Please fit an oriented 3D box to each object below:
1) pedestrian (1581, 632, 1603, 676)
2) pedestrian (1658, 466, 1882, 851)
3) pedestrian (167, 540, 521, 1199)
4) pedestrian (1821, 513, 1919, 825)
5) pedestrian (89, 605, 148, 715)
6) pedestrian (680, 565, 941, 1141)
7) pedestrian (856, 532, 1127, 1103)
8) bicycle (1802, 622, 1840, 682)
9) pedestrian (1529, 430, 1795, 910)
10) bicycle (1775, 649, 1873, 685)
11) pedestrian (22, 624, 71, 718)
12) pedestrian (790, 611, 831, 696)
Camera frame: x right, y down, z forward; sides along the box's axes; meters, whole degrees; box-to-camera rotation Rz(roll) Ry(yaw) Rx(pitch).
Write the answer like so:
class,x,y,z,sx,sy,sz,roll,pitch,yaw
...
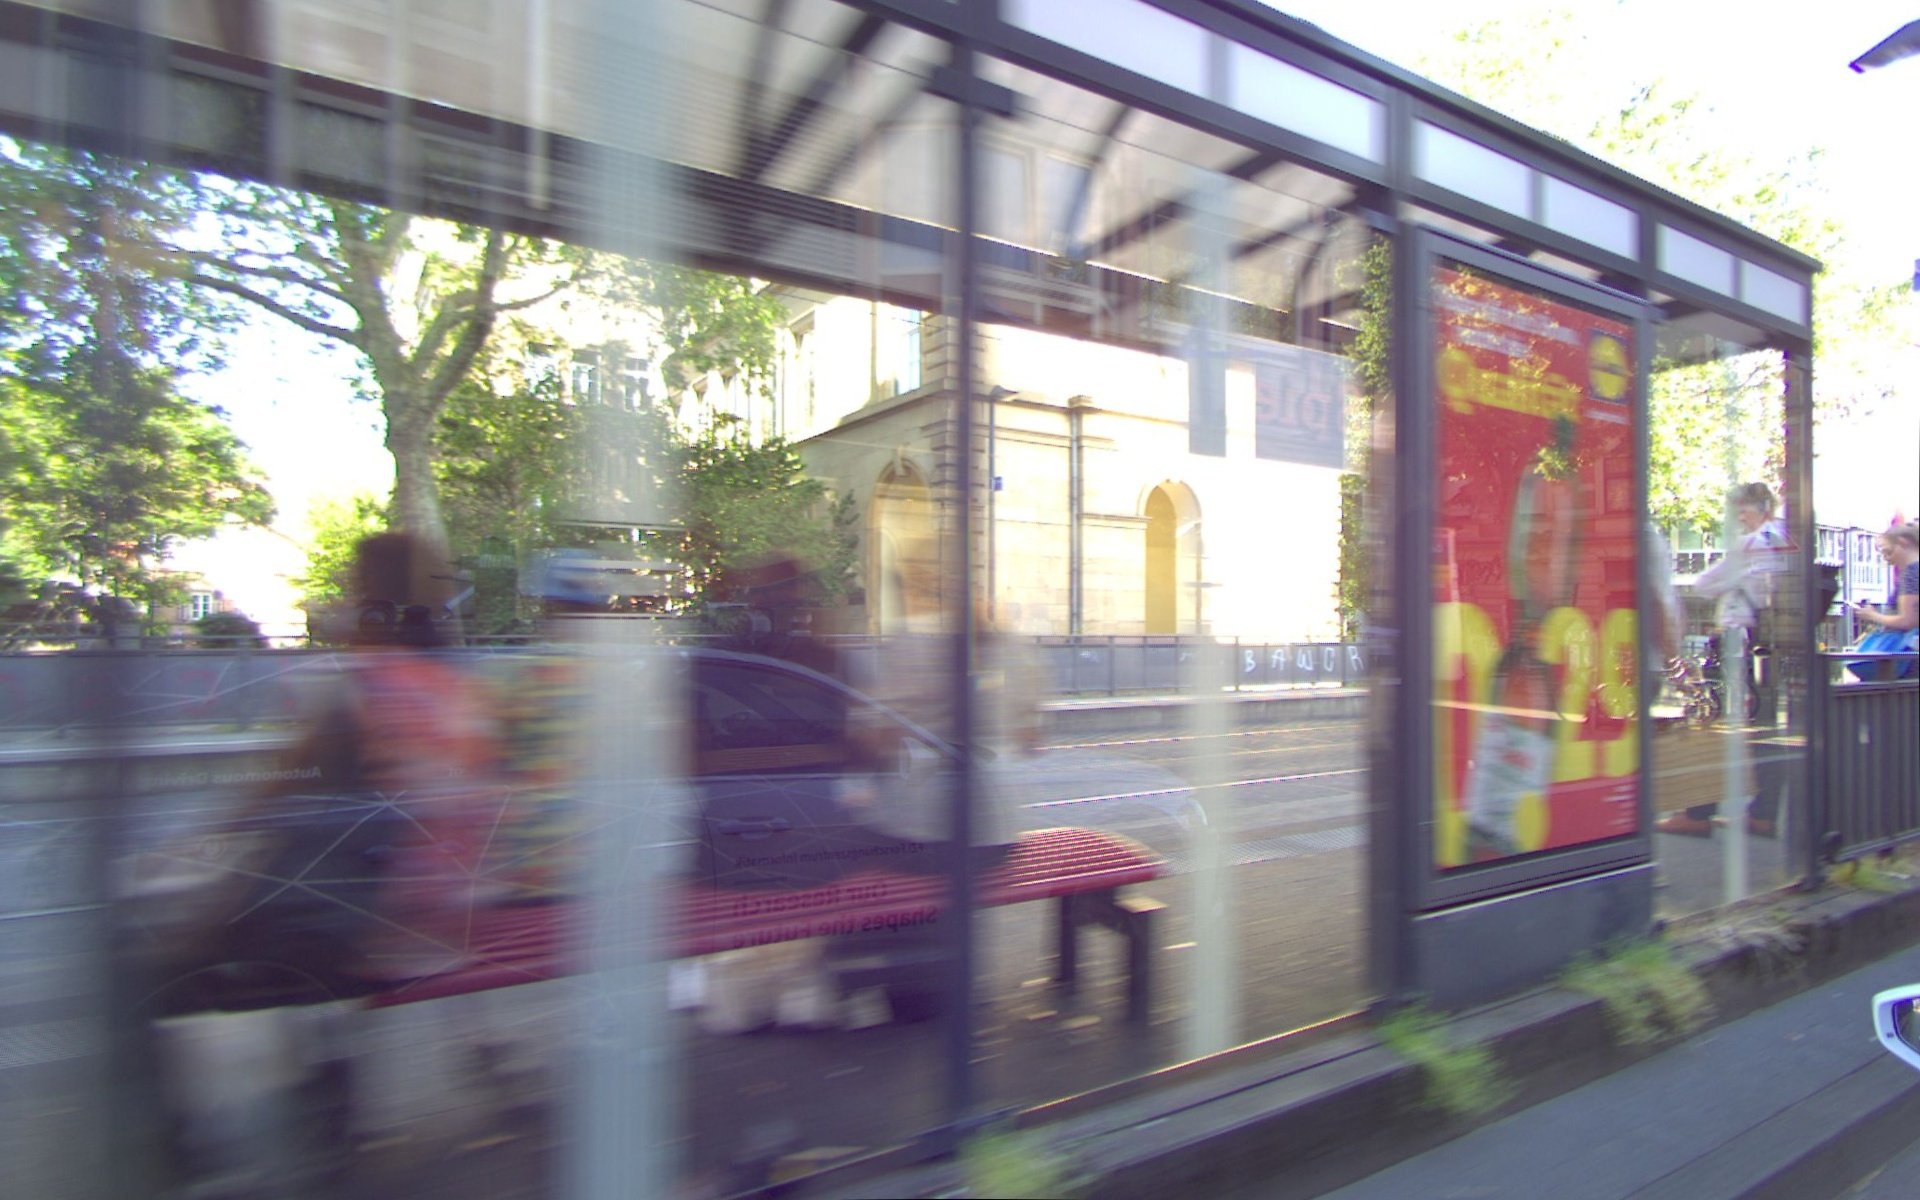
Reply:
class,x,y,z,sx,sy,sz,roll,pitch,yaw
pedestrian,24.618,2.093,39.134,0.678,1.658,0.675,0,-2,27
pedestrian,4.126,0.279,5.131,0.739,1.775,0.686,1,-1,-32
pedestrian,-1.048,0.502,1.744,0.455,1.167,0.363,2,0,-32
pedestrian,5.302,0.375,5.687,0.583,1.670,0.491,1,-1,-32
pedestrian,-15.024,1.062,17.942,0.618,1.906,0.704,1,-1,-27
pedestrian,-0.354,0.519,2.335,0.455,1.167,0.406,2,0,-31
pedestrian,0.067,0.489,2.587,0.455,1.269,0.537,2,0,-31
bicycle,25.118,1.505,29.325,0.572,1.738,0.648,0,-1,9
pedestrian,2.946,0.270,4.236,0.739,1.788,0.686,1,-1,-32
bicycle,25.161,1.947,29.282,2.126,0.979,0.648,0,-1,9
pedestrian,-15.469,1.183,17.027,0.468,1.550,0.580,1,-1,-29
pedestrian,-3.119,1.096,20.964,0.607,1.735,0.675,2,-1,-32
